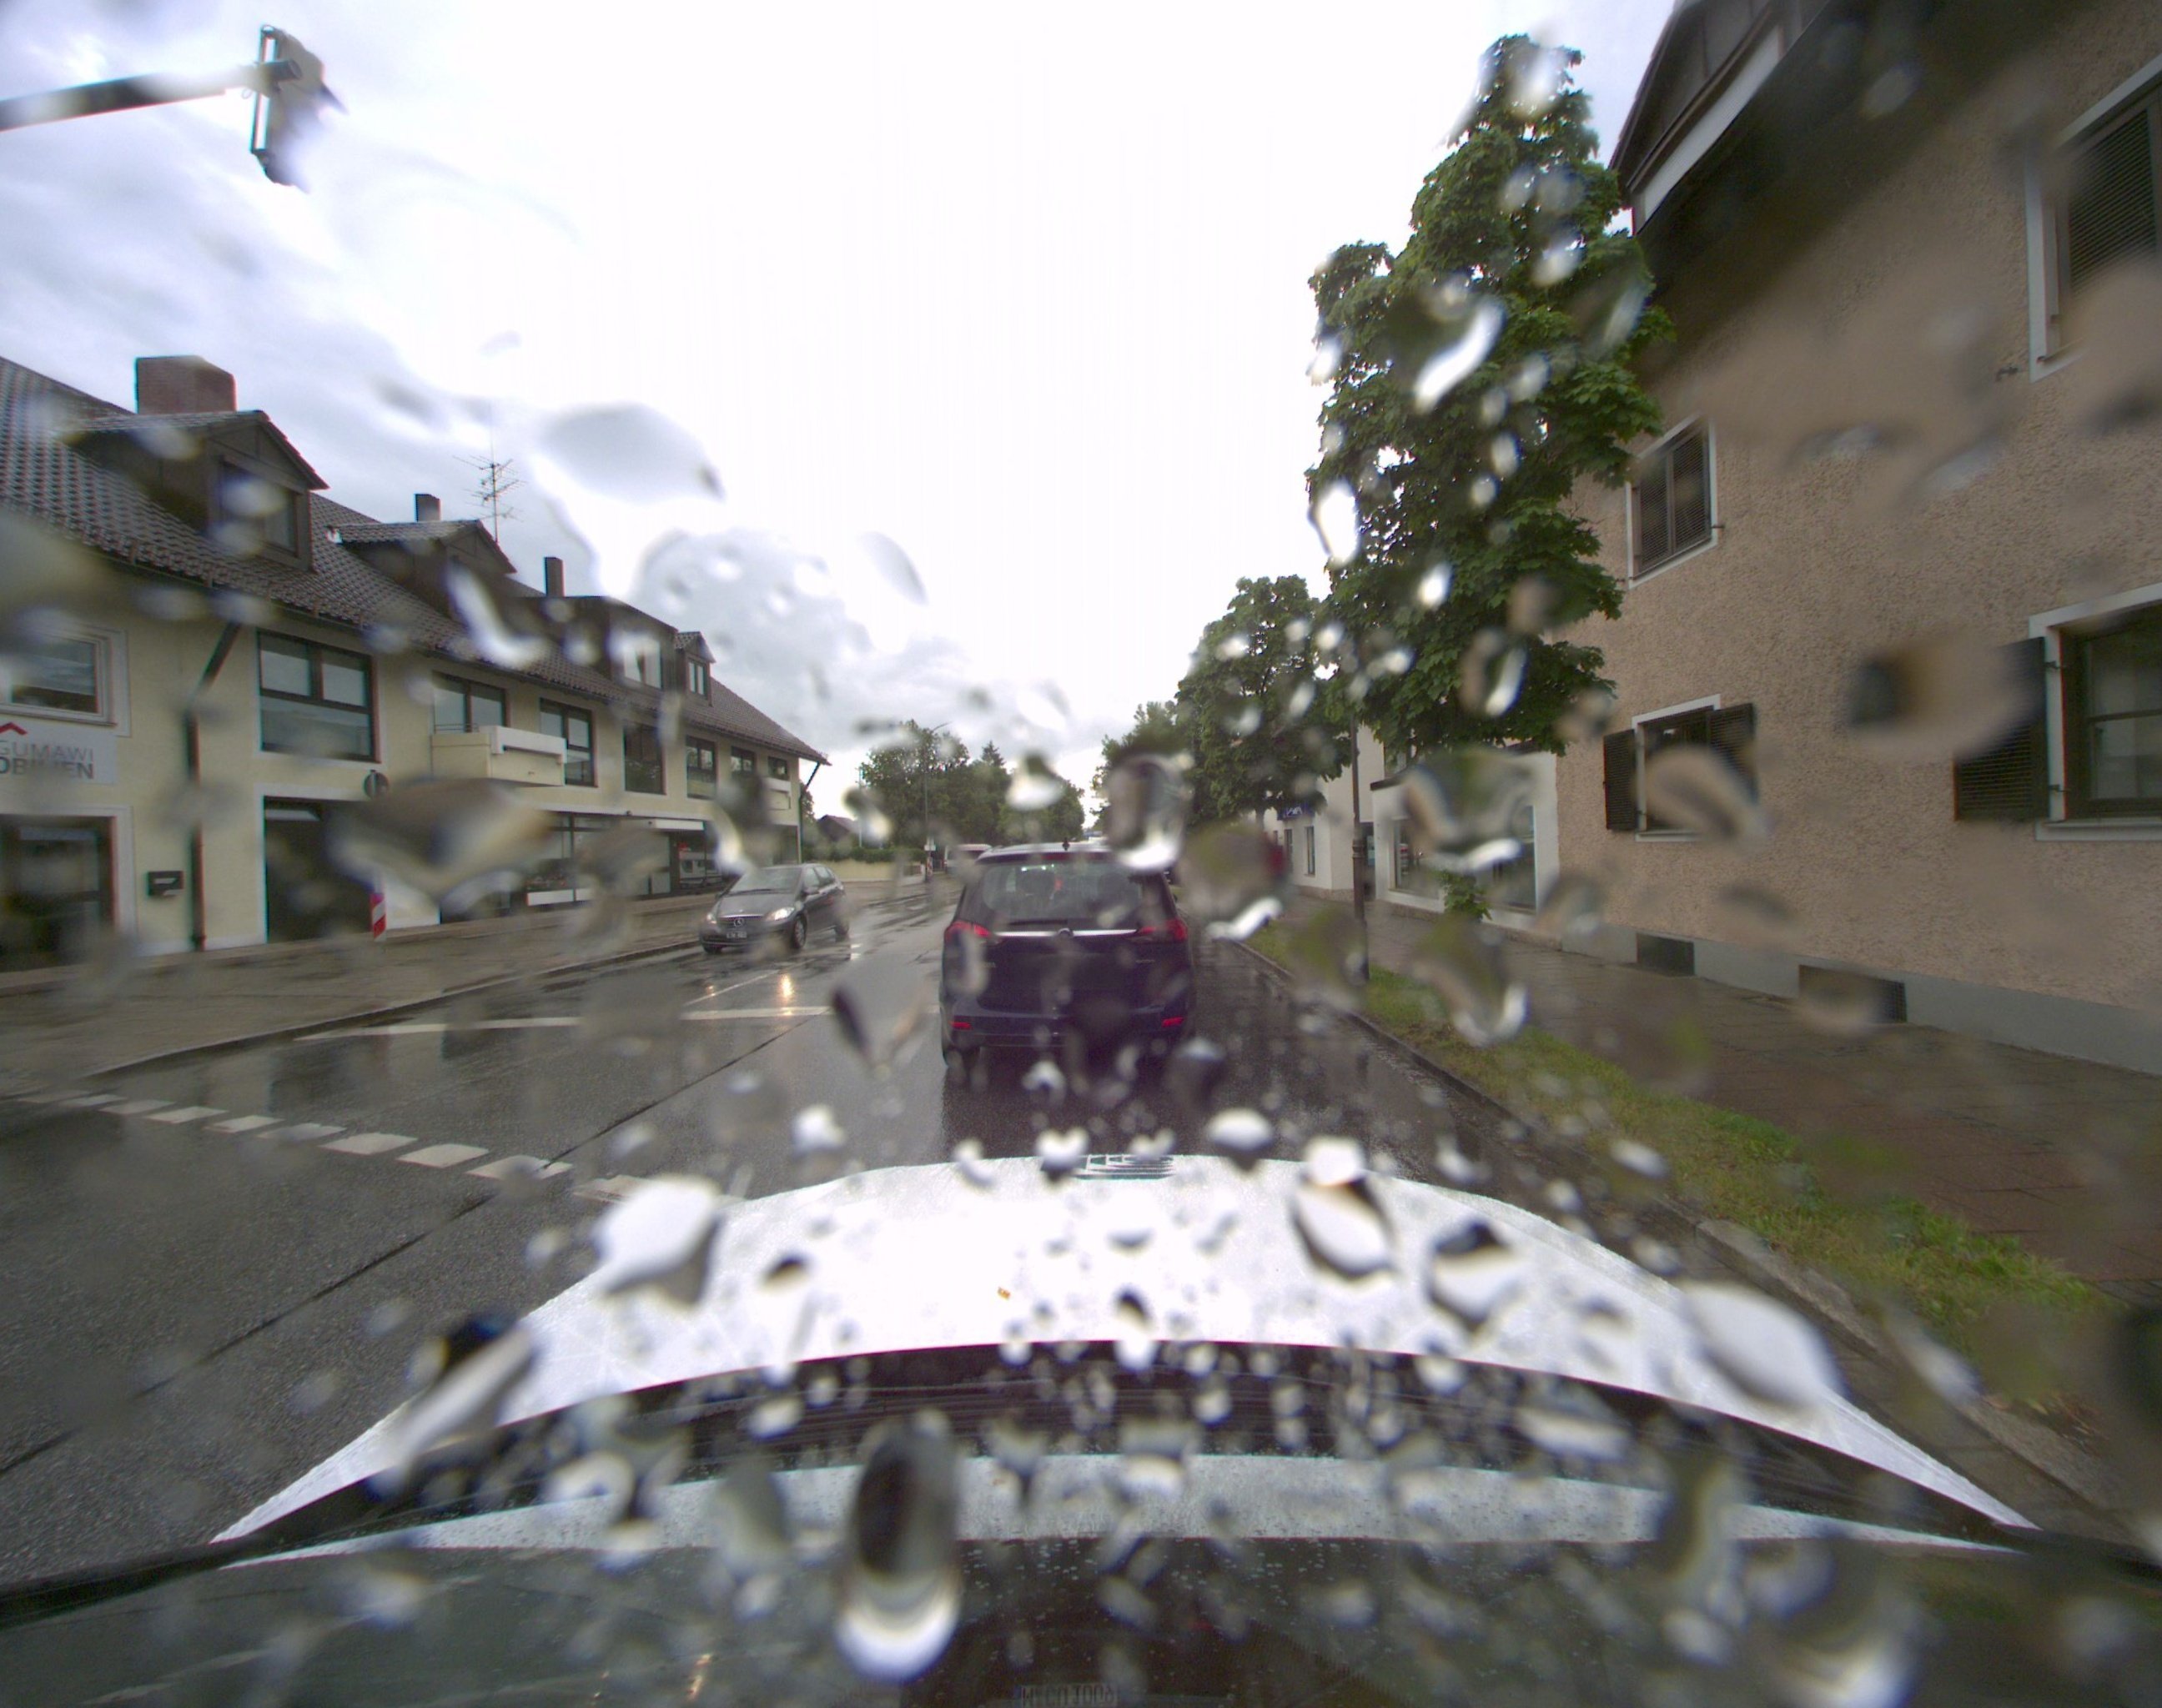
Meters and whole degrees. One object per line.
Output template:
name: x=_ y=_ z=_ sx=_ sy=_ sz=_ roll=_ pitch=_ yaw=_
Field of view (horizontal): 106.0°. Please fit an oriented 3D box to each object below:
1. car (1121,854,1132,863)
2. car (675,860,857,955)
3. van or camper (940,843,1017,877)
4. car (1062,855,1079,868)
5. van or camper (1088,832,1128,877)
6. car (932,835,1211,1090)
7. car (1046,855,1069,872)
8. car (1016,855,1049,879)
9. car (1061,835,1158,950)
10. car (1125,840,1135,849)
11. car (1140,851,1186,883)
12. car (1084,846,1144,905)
car: x=7.389 y=0.732 z=131.789 sx=1.624 sy=1.378 sz=3.624 roll=0 pitch=-1 yaw=2
car: x=-6.003 y=0.951 z=16.076 sx=1.909 sy=1.533 sz=3.900 roll=-3 pitch=0 yaw=2
van or camper: x=-8.555 y=0.489 z=68.617 sx=6.235 sy=2.707 sz=2.098 roll=-2 pitch=0 yaw=-4
car: x=-1.221 y=0.899 z=99.890 sx=1.745 sy=1.511 sz=4.233 roll=-3 pitch=0 yaw=3
van or camper: x=1.731 y=0.041 z=52.257 sx=2.351 sy=2.665 sz=5.374 roll=-2 pitch=0 yaw=2
car: x=-0.003 y=0.686 z=6.986 sx=1.762 sy=1.604 sz=3.665 roll=0 pitch=0 yaw=2
car: x=-2.282 y=0.885 z=79.762 sx=1.920 sy=1.566 sz=4.127 roll=-2 pitch=0 yaw=1
car: x=-3.441 y=0.930 z=58.597 sx=1.960 sy=1.563 sz=4.153 roll=-3 pitch=0 yaw=2
car: x=0.490 y=0.594 z=14.112 sx=1.494 sy=1.776 sz=3.113 roll=0 pitch=0 yaw=2
car: x=8.521 y=-1.665 z=141.209 sx=1.624 sy=1.378 sz=3.624 roll=-3 pitch=0 yaw=2
car: x=4.283 y=0.659 z=42.910 sx=2.110 sy=1.581 sz=3.936 roll=0 pitch=0 yaw=1
car: x=1.050 y=0.634 z=26.072 sx=1.749 sy=1.706 sz=3.620 roll=-2 pitch=0 yaw=2
